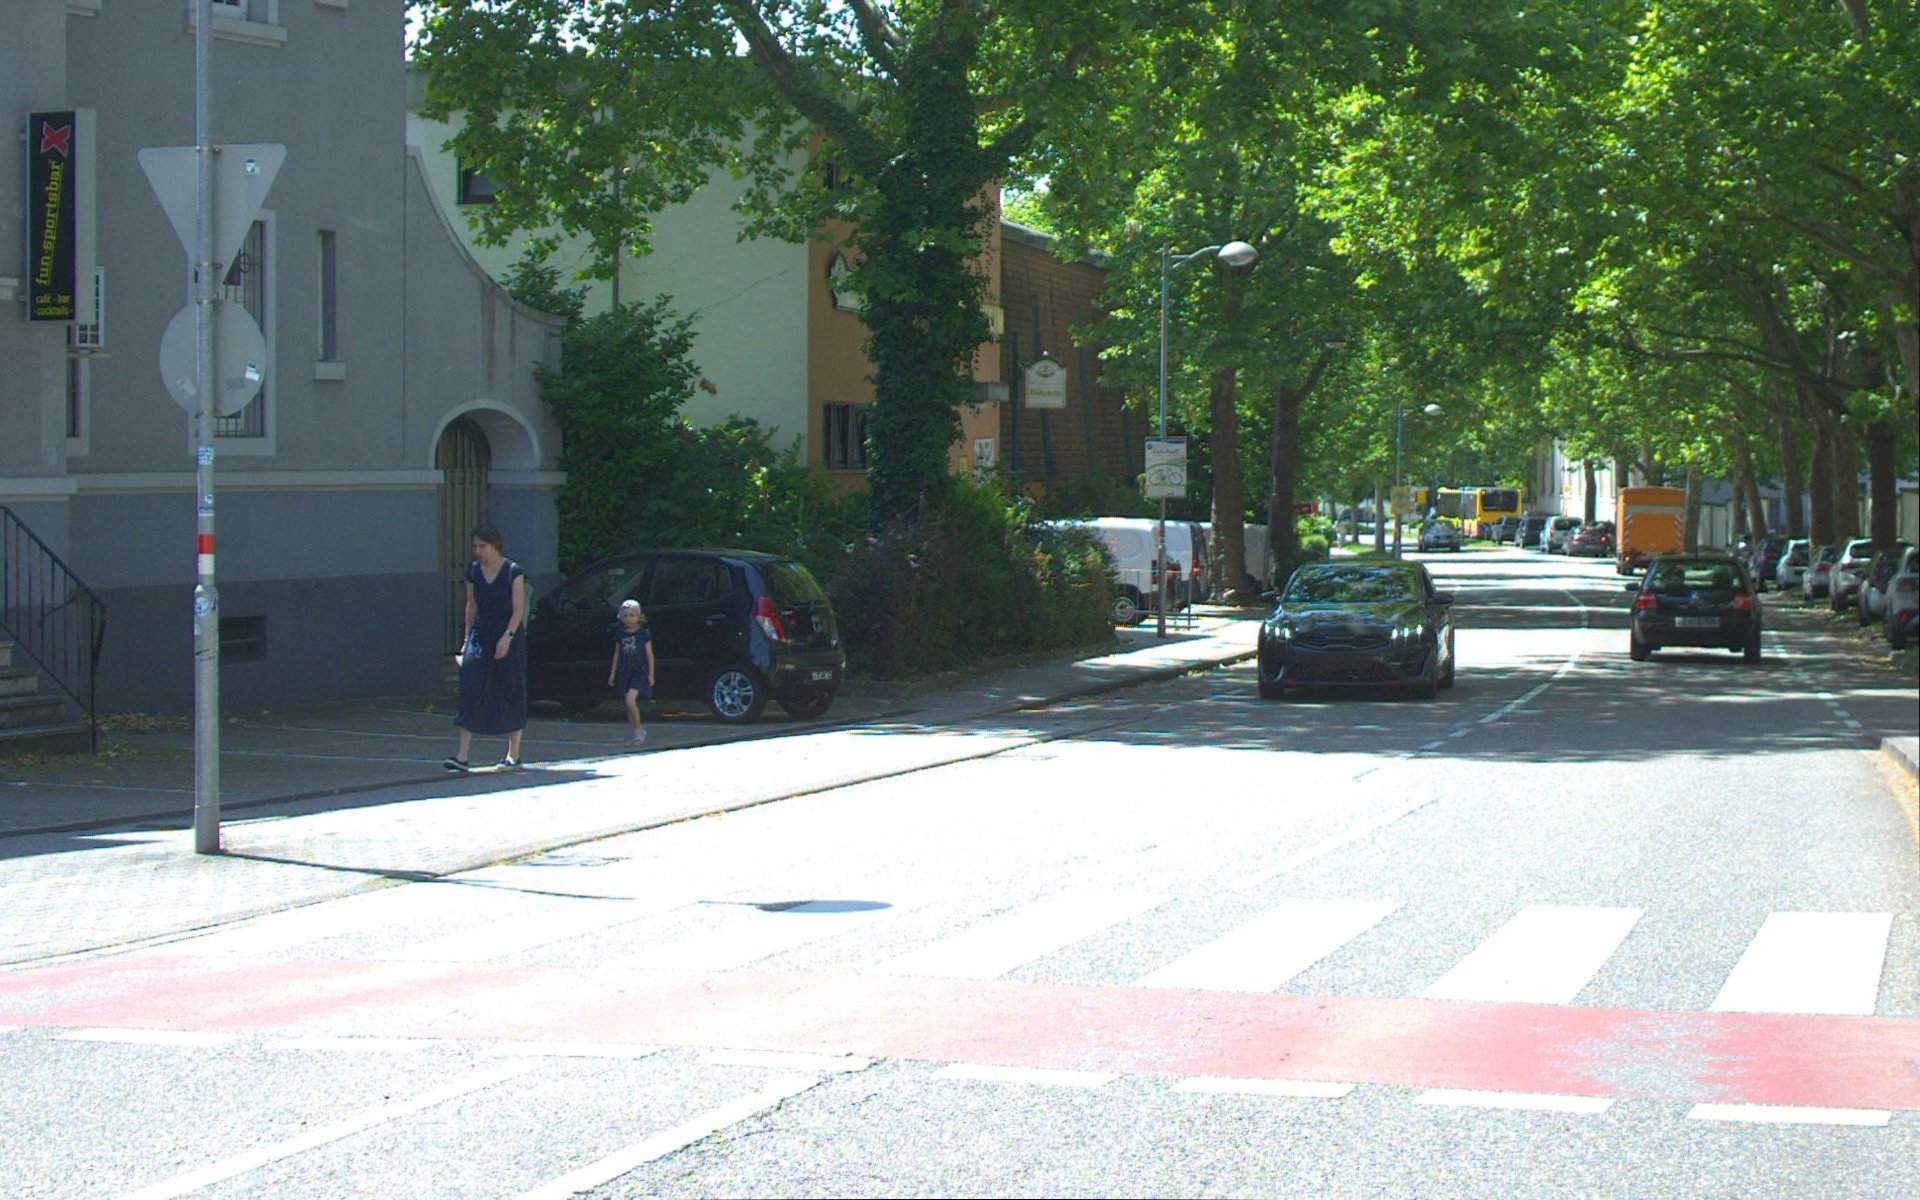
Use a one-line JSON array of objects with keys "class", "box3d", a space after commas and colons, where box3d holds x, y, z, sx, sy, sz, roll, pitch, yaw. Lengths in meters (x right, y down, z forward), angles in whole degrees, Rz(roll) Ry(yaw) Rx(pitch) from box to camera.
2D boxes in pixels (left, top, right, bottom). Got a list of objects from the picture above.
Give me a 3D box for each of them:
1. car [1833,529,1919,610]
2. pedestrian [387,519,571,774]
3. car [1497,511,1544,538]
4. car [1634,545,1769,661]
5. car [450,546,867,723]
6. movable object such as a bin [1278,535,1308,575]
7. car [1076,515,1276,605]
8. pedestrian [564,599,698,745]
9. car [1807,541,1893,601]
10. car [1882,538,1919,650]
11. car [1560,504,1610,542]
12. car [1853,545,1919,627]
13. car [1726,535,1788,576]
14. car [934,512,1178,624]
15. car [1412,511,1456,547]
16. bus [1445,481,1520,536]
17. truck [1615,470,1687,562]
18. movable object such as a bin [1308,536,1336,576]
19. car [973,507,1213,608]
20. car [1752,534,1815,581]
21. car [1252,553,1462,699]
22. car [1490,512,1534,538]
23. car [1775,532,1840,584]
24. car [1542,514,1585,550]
[{"class": "car", "box3d": [20.235, -0.700, 75.537, 1.809, 1.683, 4.749, -1, 1, 12]}, {"class": "pedestrian", "box3d": [-3.360, 0.308, 24.080, 0.872, 1.736, 1.111, 0, 1, 18]}, {"class": "car", "box3d": [29.159, -3.934, 178.853, 1.766, 1.369, 3.730, -1, 1, -1]}, {"class": "car", "box3d": [10.084, -0.001, 46.961, 1.712, 1.442, 4.056, 0, 2, 11]}, {"class": "car", "box3d": [-2.749, 0.279, 31.434, 3.385, 1.541, 1.722, 0, 1, 22]}, {"class": "movable object such as a bin", "box3d": [8.965, -1.210, 92.524, 0.735, 1.074, 0.701, 1, 1, 12]}, {"class": "car", "box3d": [4.734, -0.888, 74.999, 4.130, 1.798, 1.902, 2, 1, 9]}, {"class": "pedestrian", "box3d": [-2.608, 0.562, 27.318, 0.754, 1.118, 0.896, 0, 1, 18]}, {"class": "car", "box3d": [22.195, -0.739, 85.843, 1.767, 1.428, 3.874, -1, 1, 10]}, {"class": "car", "box3d": [15.068, -0.143, 52.485, 1.742, 1.552, 4.777, -1, 2, 13]}, {"class": "car", "box3d": [29.004, -3.581, 159.677, 1.879, 1.680, 3.999, 0, 0, 4]}, {"class": "car", "box3d": [17.597, -0.292, 64.024, 1.622, 1.435, 4.430, -1, 1, 12]}, {"class": "car", "box3d": [28.155, -1.580, 121.516, 1.767, 1.369, 3.729, -1, 1, 7]}, {"class": "car", "box3d": [1.697, -0.571, 60.068, 3.988, 1.786, 1.867, 2, 1, 9]}, {"class": "car", "box3d": [23.298, -3.487, 169.070, 1.994, 1.660, 3.999, 0, 0, 6]}, {"class": "bus", "box3d": [30.965, -5.420, 204.264, 2.663, 3.140, 11.198, 0, 1, -1]}, {"class": "truck", "box3d": [24.717, -2.971, 123.123, 2.371, 3.123, 5.767, 0, 0, 10]}, {"class": "movable object such as a bin", "box3d": [9.770, -1.188, 92.723, 0.624, 1.045, 0.620, 1, 1, 18]}, {"class": "car", "box3d": [2.620, -0.839, 67.209, 4.425, 1.798, 1.902, 2, 1, 9]}, {"class": "car", "box3d": [26.938, -1.410, 112.544, 1.767, 1.461, 3.874, -1, 1, 10]}, {"class": "car", "box3d": [4.245, 0.228, 36.247, 1.770, 1.421, 4.390, 0, 1, 12]}, {"class": "car", "box3d": [30.021, -4.063, 187.026, 1.766, 1.369, 3.730, -1, 1, 0]}, {"class": "car", "box3d": [24.680, -1.239, 100.171, 1.578, 1.461, 3.874, -1, 1, 10]}, {"class": "car", "box3d": [29.264, -3.296, 166.774, 1.880, 1.680, 3.999, 0, 0, 7]}]
